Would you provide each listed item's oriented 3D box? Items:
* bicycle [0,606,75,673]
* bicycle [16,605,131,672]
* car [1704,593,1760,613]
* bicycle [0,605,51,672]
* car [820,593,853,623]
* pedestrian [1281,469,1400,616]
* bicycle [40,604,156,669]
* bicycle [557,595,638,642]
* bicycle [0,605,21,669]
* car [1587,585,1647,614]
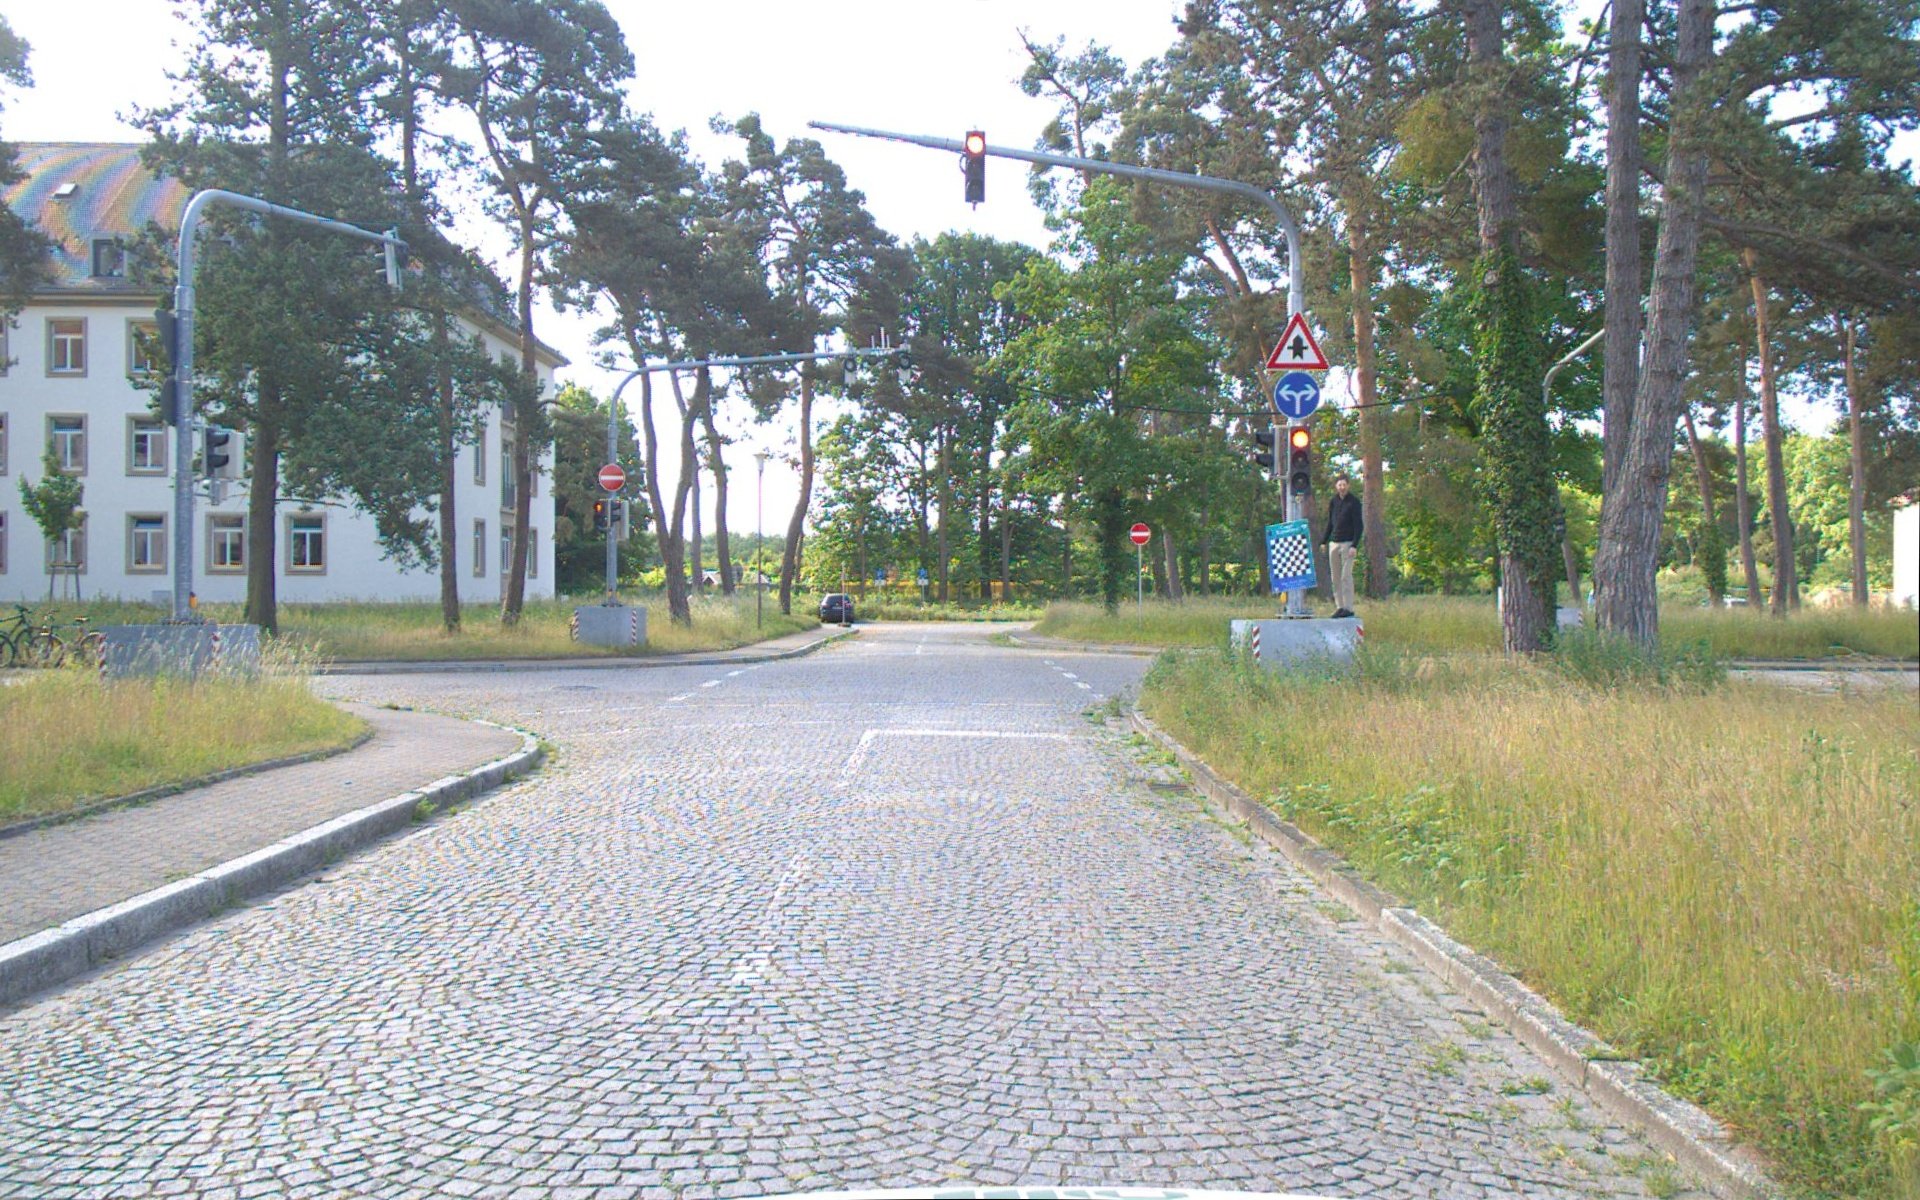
[{"bbox_3d":[-18.048,0.745,32.108,0.620,1.242,2.114,0,0,-1],"label":"bicycle"},{"bbox_3d":[-16.799,0.728,31.378,1.824,1.242,0.635,0,0,-1],"label":"bicycle"},{"bbox_3d":[44.751,0.164,95.941,1.686,1.106,4.003,0,0,5],"label":"car"},{"bbox_3d":[-18.523,0.737,32.088,0.620,1.242,2.123,0,0,-1],"label":"bicycle"},{"bbox_3d":[-6.605,0.413,88.895,1.675,1.522,3.917,0,0,-3],"label":"car"},{"bbox_3d":[4.924,-0.718,21.375,1.149,1.827,1.058,-1,0,38],"label":"pedestrian"},{"bbox_3d":[-16.709,0.705,32.094,1.905,1.242,0.635,0,0,-1],"label":"bicycle"},{"bbox_3d":[-8.638,0.428,39.470,0.623,1.084,1.942,0,0,37],"label":"bicycle"},{"bbox_3d":[-19.117,0.725,32.081,0.620,1.242,2.104,0,0,-1],"label":"bicycle"},{"bbox_3d":[37.862,-0.049,95.454,1.790,1.609,4.162,0,0,-1],"label":"car"}]
